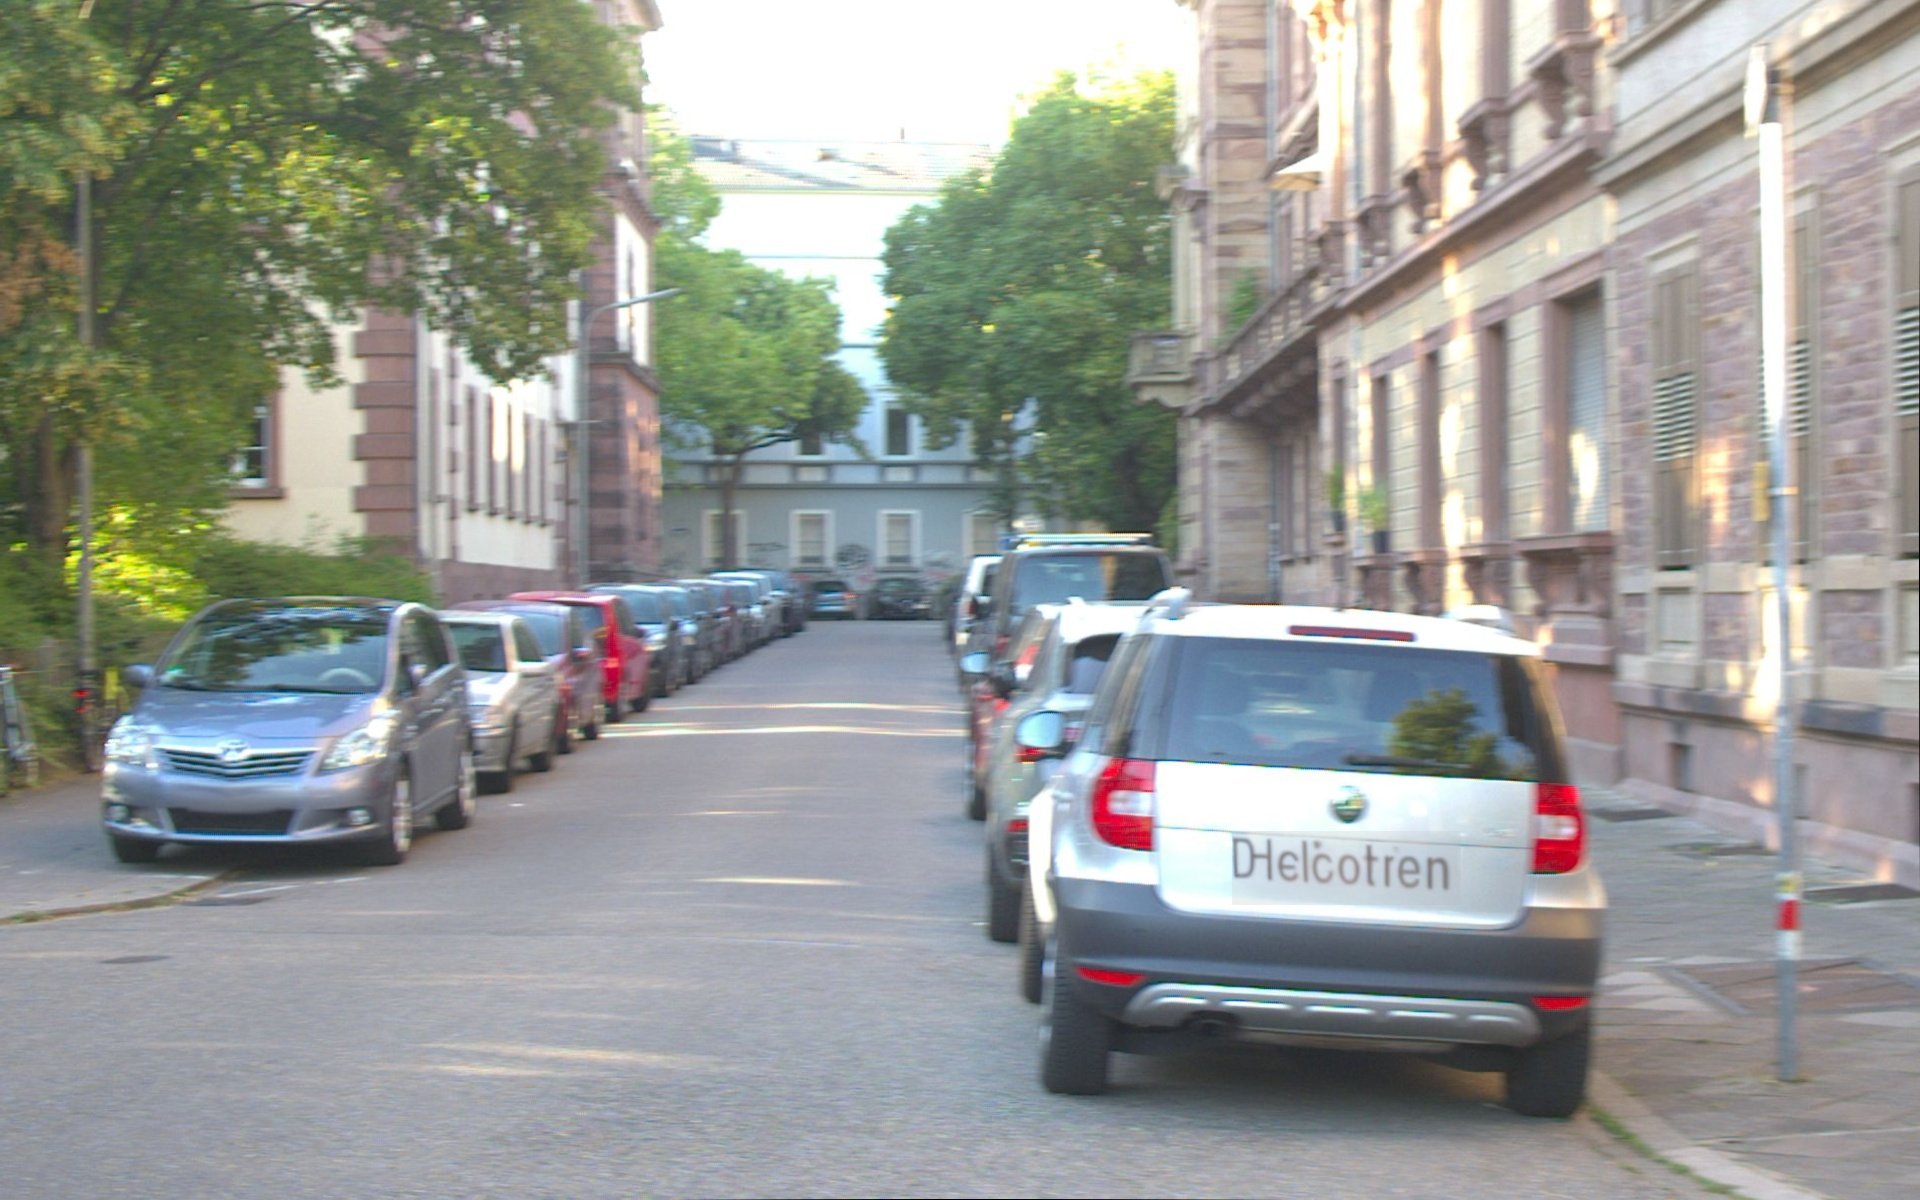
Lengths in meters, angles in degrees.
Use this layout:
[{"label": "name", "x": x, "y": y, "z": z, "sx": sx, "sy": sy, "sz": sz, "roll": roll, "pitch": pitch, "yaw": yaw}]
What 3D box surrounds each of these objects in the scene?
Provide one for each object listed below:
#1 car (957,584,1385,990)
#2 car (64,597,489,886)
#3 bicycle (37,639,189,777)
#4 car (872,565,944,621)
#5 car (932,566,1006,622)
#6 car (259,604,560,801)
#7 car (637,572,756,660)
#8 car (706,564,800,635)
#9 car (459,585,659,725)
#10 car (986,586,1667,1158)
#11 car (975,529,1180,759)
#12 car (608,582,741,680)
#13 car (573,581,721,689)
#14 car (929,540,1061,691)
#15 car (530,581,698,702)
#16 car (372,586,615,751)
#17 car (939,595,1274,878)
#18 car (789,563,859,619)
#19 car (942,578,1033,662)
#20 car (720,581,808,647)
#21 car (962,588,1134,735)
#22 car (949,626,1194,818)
[{"label": "car", "x": 0.947, "y": 0.828, "z": 17.612, "sx": 1.826, "sy": 1.718, "sz": 4.543, "roll": 3, "pitch": 0, "yaw": 0}, {"label": "car", "x": -4.325, "y": 0.832, "z": 22.407, "sx": 1.826, "sy": 1.609, "sz": 4.291, "roll": 3, "pitch": 0, "yaw": 0}, {"label": "bicycle", "x": -7.241, "y": 0.900, "z": 29.517, "sx": 0.597, "sy": 1.098, "sz": 2.627, "roll": 0, "pitch": 0, "yaw": 1}, {"label": "car", "x": -1.718, "y": -0.221, "z": 112.173, "sx": 1.993, "sy": 1.678, "sz": 4.000, "roll": 1, "pitch": -2, "yaw": -6}, {"label": "car", "x": 0.267, "y": -0.171, "z": 112.845, "sx": 1.993, "sy": 1.678, "sz": 4.000, "roll": 1, "pitch": -2, "yaw": -6}, {"label": "car", "x": -4.556, "y": 0.811, "z": 28.998, "sx": 1.826, "sy": 1.442, "sz": 3.931, "roll": 3, "pitch": 0, "yaw": 0}, {"label": "car", "x": -4.861, "y": 0.278, "z": 63.810, "sx": 1.826, "sy": 1.495, "sz": 3.931, "roll": 3, "pitch": 0, "yaw": 0}, {"label": "car", "x": -4.701, "y": -0.015, "z": 78.604, "sx": 1.826, "sy": 1.495, "sz": 3.931, "roll": 3, "pitch": 0, "yaw": 0}, {"label": "car", "x": -4.688, "y": 0.615, "z": 40.684, "sx": 1.826, "sy": 1.495, "sz": 3.931, "roll": 3, "pitch": 0, "yaw": 0}, {"label": "car", "x": 1.135, "y": 0.840, "z": 12.586, "sx": 1.916, "sy": 1.651, "sz": 4.187, "roll": 3, "pitch": 0, "yaw": -1}, {"label": "car", "x": 1.103, "y": 0.400, "z": 33.988, "sx": 1.797, "sy": 2.065, "sz": 3.955, "roll": 2, "pitch": 0, "yaw": 0}, {"label": "car", "x": -4.760, "y": 0.498, "z": 57.840, "sx": 1.826, "sy": 1.495, "sz": 3.931, "roll": 3, "pitch": 0, "yaw": 0}, {"label": "car", "x": -4.761, "y": 0.510, "z": 52.766, "sx": 1.826, "sy": 1.495, "sz": 3.931, "roll": 3, "pitch": 0, "yaw": 0}, {"label": "car", "x": 0.485, "y": 0.217, "z": 50.850, "sx": 1.797, "sy": 2.065, "sz": 3.955, "roll": 2, "pitch": 0, "yaw": 0}, {"label": "car", "x": -4.700, "y": 0.544, "z": 47.210, "sx": 1.826, "sy": 1.495, "sz": 3.931, "roll": 3, "pitch": 0, "yaw": 0}, {"label": "car", "x": -4.624, "y": 0.649, "z": 34.569, "sx": 1.826, "sy": 1.473, "sz": 3.931, "roll": 3, "pitch": 0, "yaw": 0}, {"label": "car", "x": 0.866, "y": 0.817, "z": 22.596, "sx": 1.797, "sy": 1.608, "sz": 3.955, "roll": 2, "pitch": 0, "yaw": -3}, {"label": "car", "x": -4.449, "y": -0.272, "z": 111.903, "sx": 1.993, "sy": 1.678, "sz": 4.000, "roll": 1, "pitch": -2, "yaw": -6}, {"label": "car", "x": 0.558, "y": 0.399, "z": 72.177, "sx": 1.797, "sy": 1.634, "sz": 3.955, "roll": 2, "pitch": 0, "yaw": 0}, {"label": "car", "x": -4.751, "y": 0.326, "z": 83.706, "sx": 1.826, "sy": 1.495, "sz": 3.931, "roll": 3, "pitch": 0, "yaw": 0}, {"label": "car", "x": 0.963, "y": 0.664, "z": 39.472, "sx": 1.797, "sy": 1.518, "sz": 3.955, "roll": 2, "pitch": 0, "yaw": 0}, {"label": "car", "x": 0.842, "y": 0.941, "z": 28.060, "sx": 1.797, "sy": 1.341, "sz": 3.955, "roll": 2, "pitch": 0, "yaw": 0}]
